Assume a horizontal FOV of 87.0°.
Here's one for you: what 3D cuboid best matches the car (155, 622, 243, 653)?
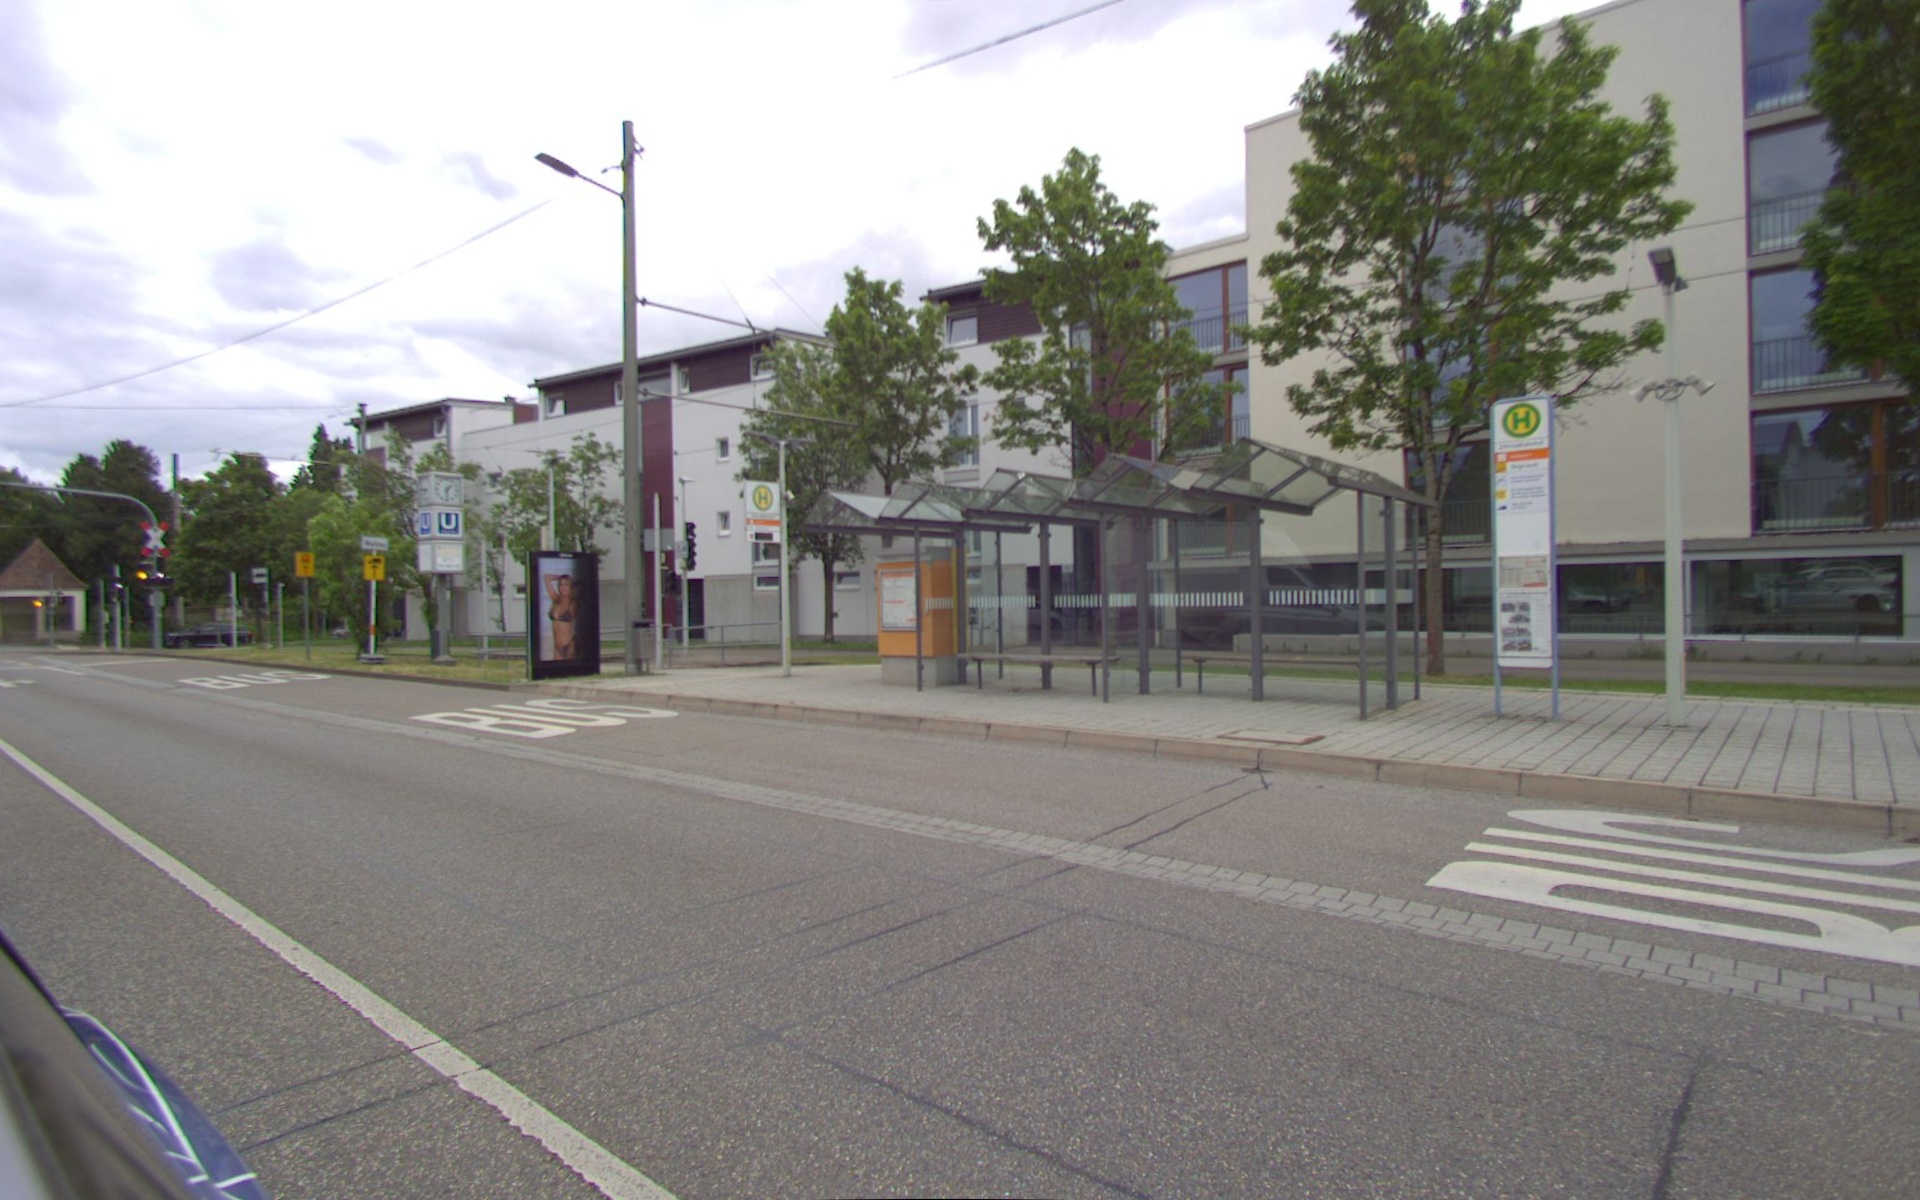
[{"bbox_3d":[-46.531,2.272,61.913,1.925,1.719,3.950,-1,0,37],"label":"car"}]
